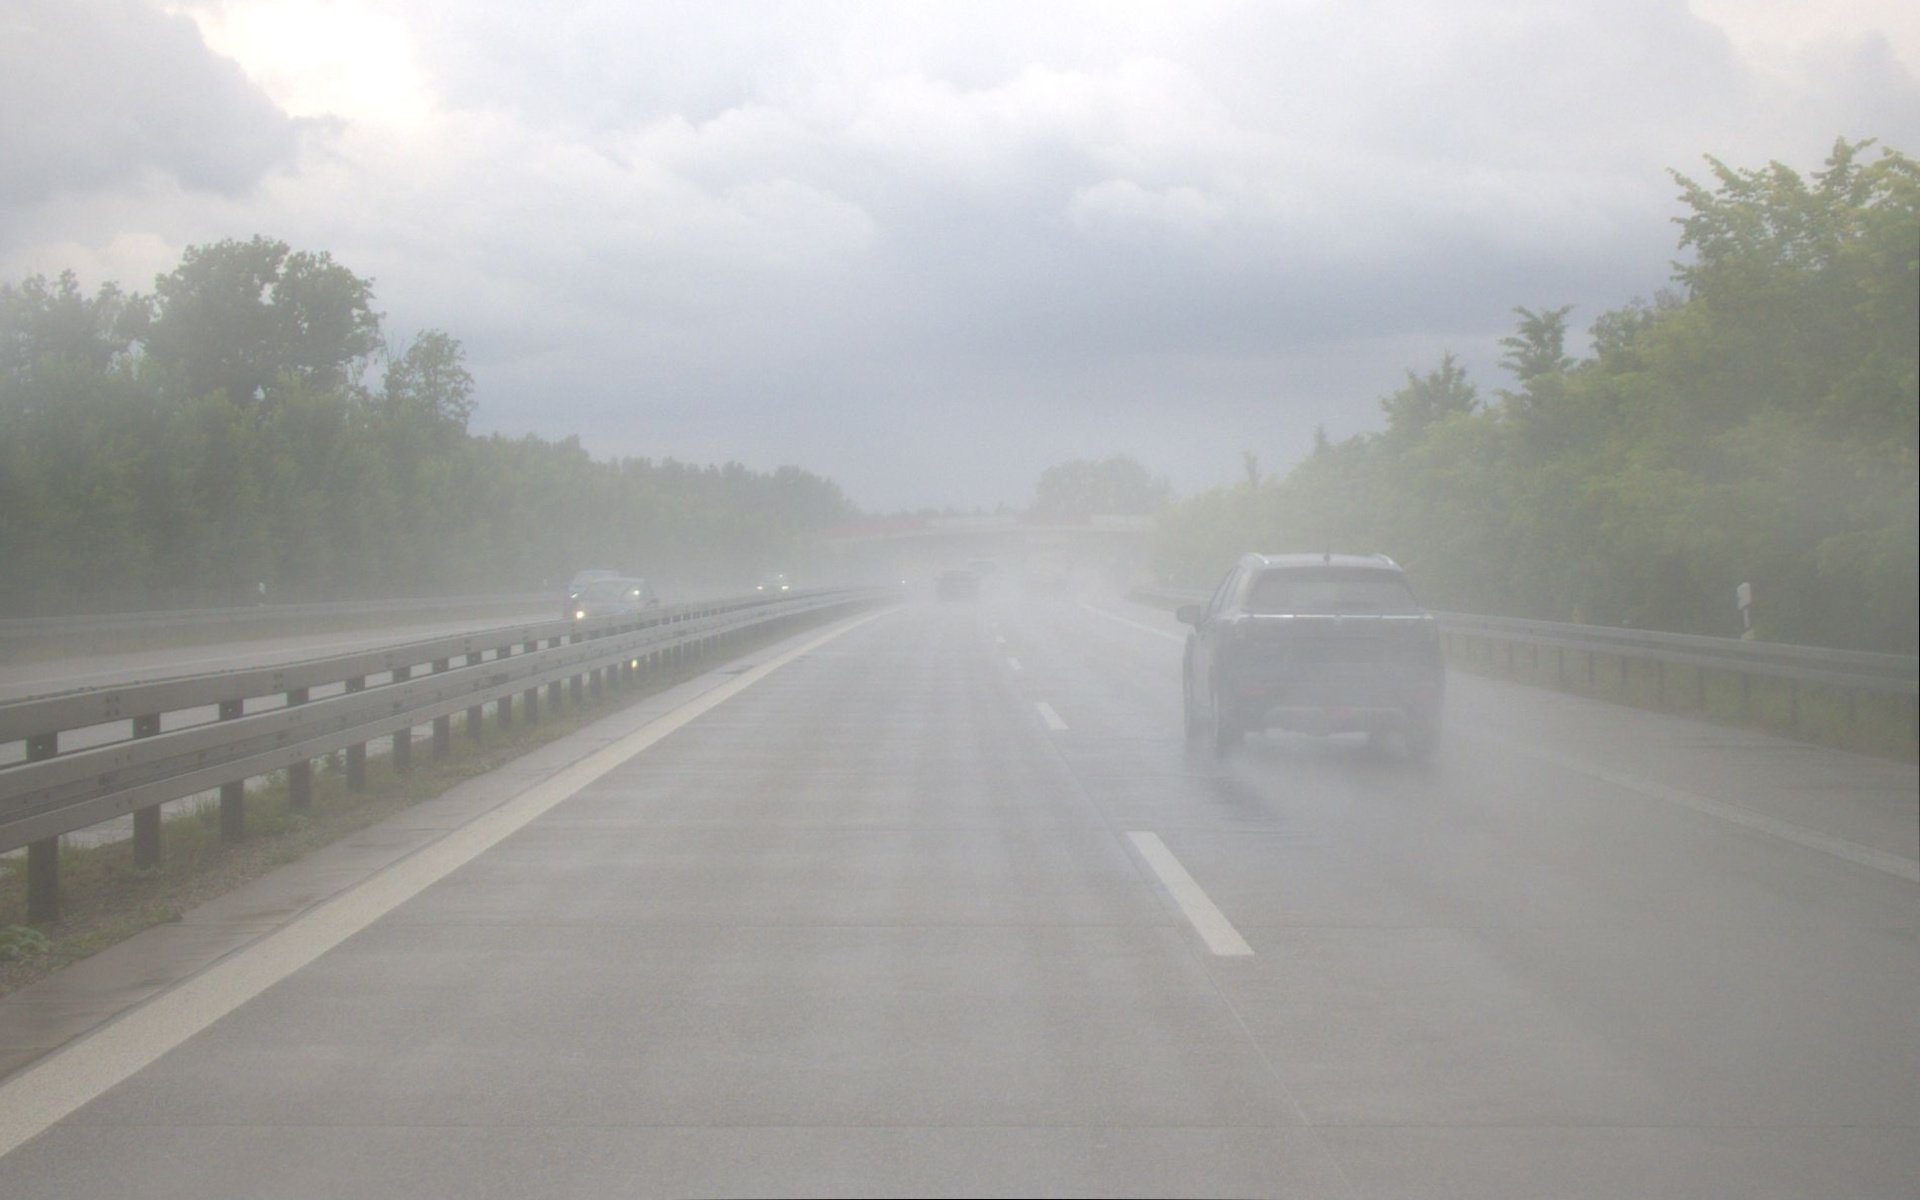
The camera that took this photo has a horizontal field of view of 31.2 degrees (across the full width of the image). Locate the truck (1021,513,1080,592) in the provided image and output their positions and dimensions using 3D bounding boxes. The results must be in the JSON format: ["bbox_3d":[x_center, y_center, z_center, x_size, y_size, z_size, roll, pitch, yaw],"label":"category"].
[{"bbox_3d":[5.238,-2.691,197.477,3.244,4.422,8.245,0,0,3],"label":"truck"}]

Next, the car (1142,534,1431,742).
[{"bbox_3d":[2.593,0.296,28.067,1.894,1.571,3.632,1,0,-2],"label":"car"}]

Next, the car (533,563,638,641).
[{"bbox_3d":[-8.510,0.022,78.426,1.993,1.598,4.000,-2,1,-1],"label":"car"}]
